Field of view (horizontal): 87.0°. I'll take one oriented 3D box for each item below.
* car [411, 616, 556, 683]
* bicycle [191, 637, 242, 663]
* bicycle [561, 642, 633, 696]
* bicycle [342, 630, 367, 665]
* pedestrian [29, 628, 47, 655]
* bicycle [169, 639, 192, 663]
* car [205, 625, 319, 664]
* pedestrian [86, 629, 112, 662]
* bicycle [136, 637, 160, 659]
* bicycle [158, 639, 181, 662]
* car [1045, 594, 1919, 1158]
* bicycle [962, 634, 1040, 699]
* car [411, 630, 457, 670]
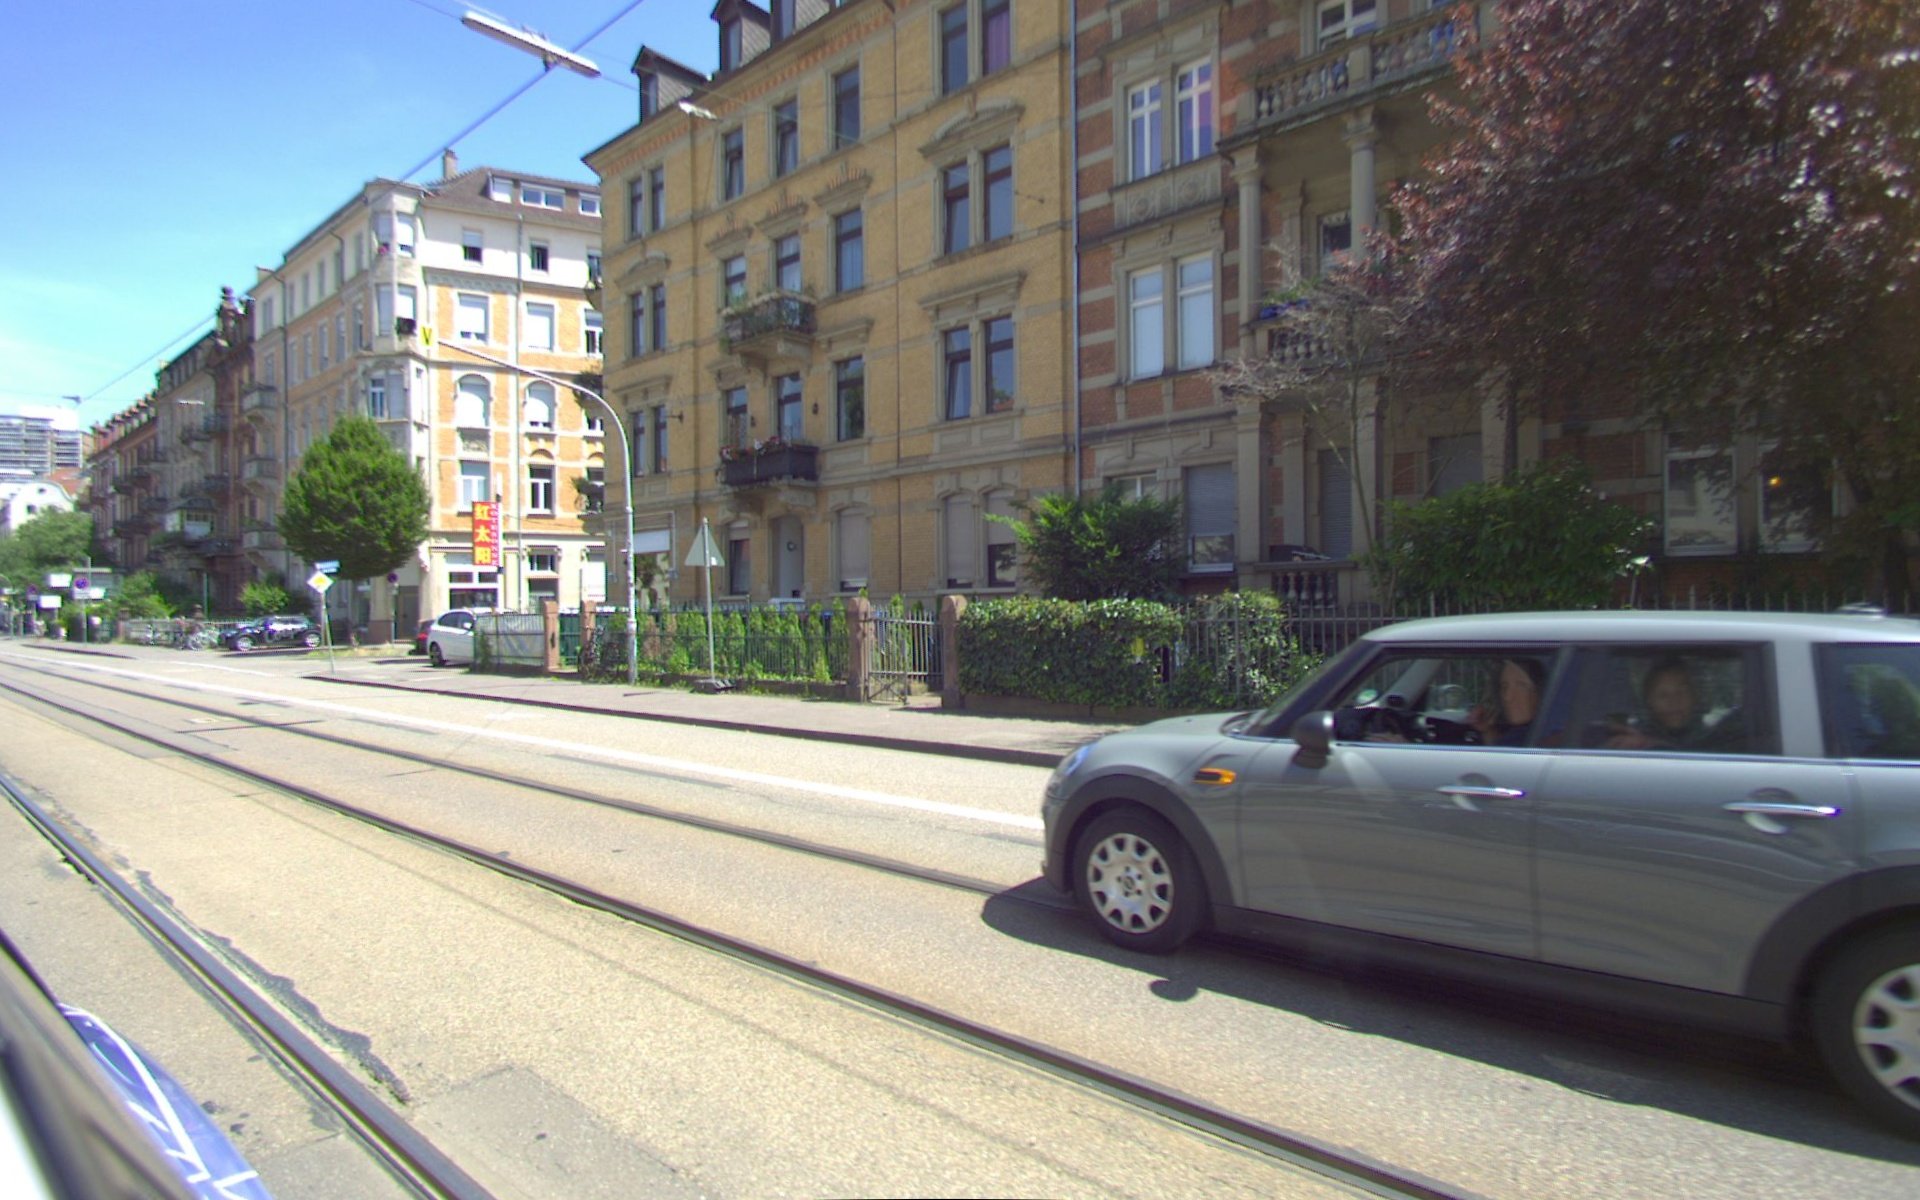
[{"bbox_3d":[-13.010,1.305,27.566,4.094,1.612,1.849,-1,1,36],"label":"car"},{"bbox_3d":[-31.888,2.127,43.419,1.685,1.045,0.551,-1,-1,-45],"label":"bicycle"},{"bbox_3d":[-7.300,1.373,20.318,1.804,1.011,0.449,-1,0,38],"label":"bicycle"},{"bbox_3d":[-23.621,1.841,39.510,0.493,1.237,1.856,0,1,-21],"label":"bicycle"},{"bbox_3d":[-60.698,2.731,66.599,0.861,1.713,1.014,-1,-1,-43],"label":"pedestrian"},{"bbox_3d":[-33.570,2.174,43.565,1.709,0.991,0.434,-2,-1,40],"label":"bicycle"},{"bbox_3d":[-29.601,1.871,42.988,1.713,1.439,3.720,0,1,41],"label":"car"},{"bbox_3d":[-47.793,2.522,56.183,1.138,1.736,0.842,-2,2,42],"label":"pedestrian"},{"bbox_3d":[-38.859,2.274,48.429,1.709,0.994,0.492,-2,3,40],"label":"bicycle"},{"bbox_3d":[-35.088,2.245,44.927,1.709,0.991,0.434,-2,-1,40],"label":"bicycle"},{"bbox_3d":[2.341,0.733,3.876,3.745,1.465,1.669,-1,0,40],"label":"car"},{"bbox_3d":[0.743,1.126,17.662,0.454,1.011,1.785,-1,0,35],"label":"bicycle"},{"bbox_3d":[-21.337,1.979,40.992,1.603,1.349,3.784,0,1,-28],"label":"car"}]
